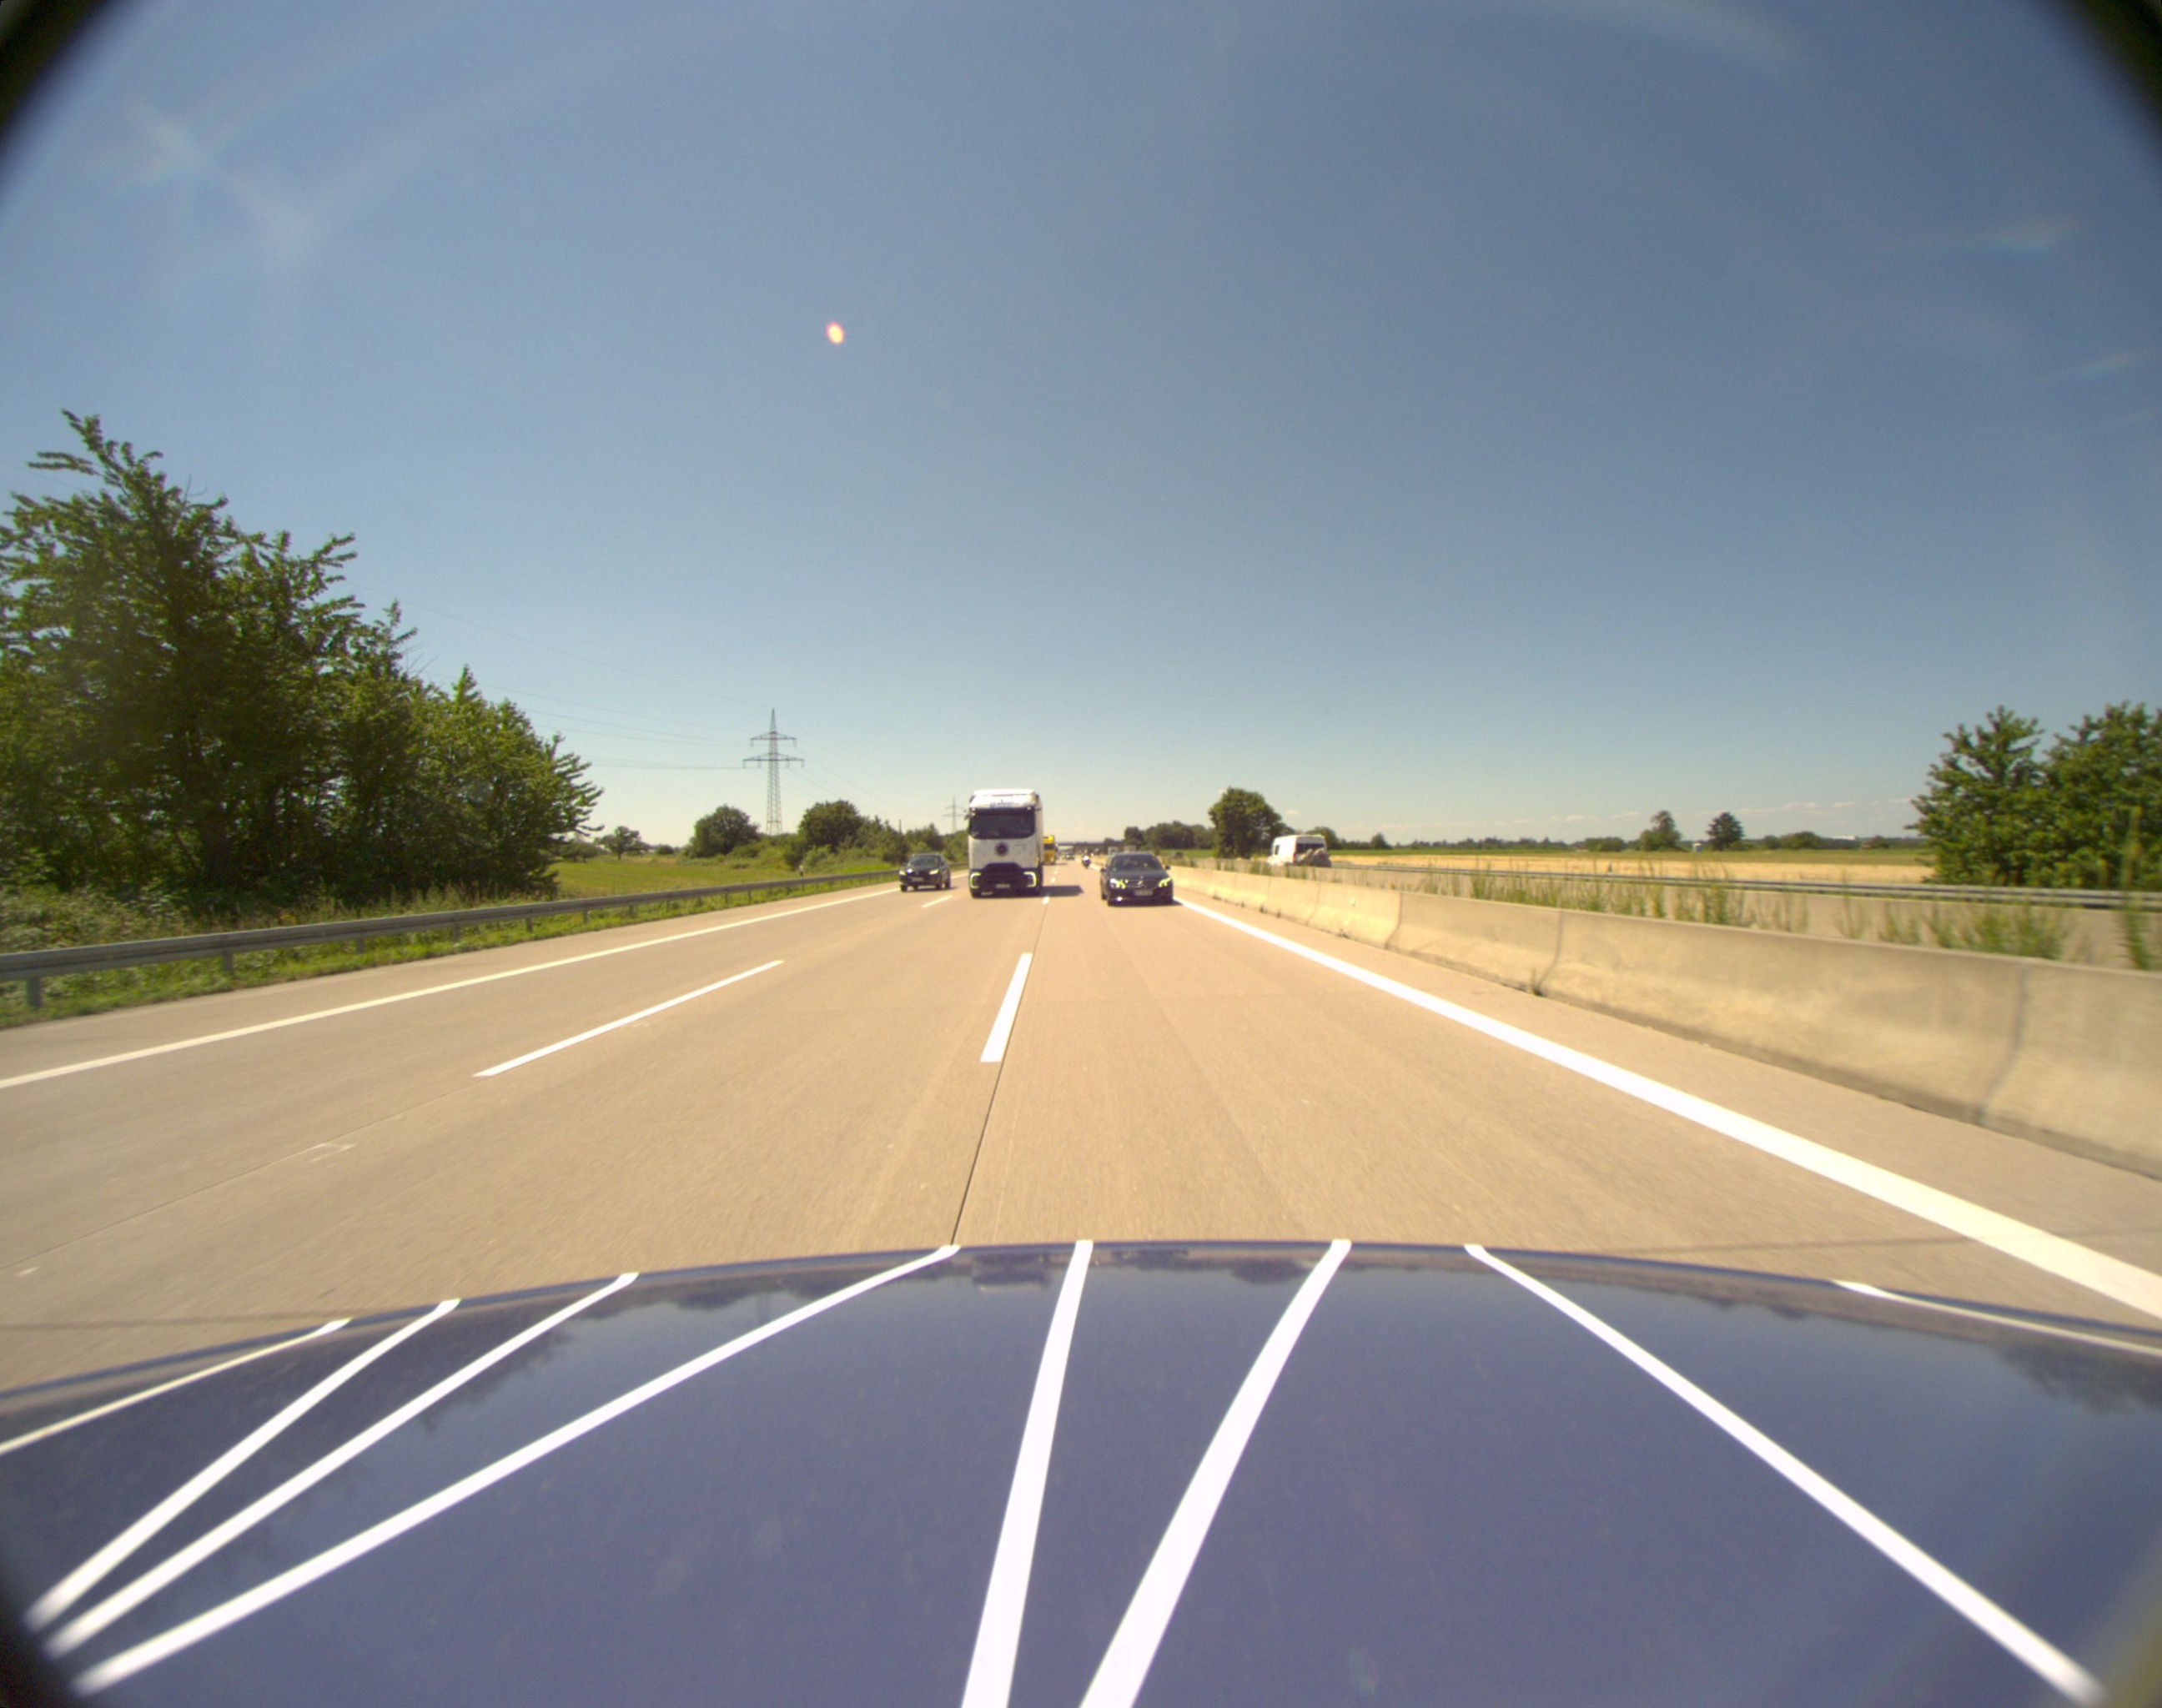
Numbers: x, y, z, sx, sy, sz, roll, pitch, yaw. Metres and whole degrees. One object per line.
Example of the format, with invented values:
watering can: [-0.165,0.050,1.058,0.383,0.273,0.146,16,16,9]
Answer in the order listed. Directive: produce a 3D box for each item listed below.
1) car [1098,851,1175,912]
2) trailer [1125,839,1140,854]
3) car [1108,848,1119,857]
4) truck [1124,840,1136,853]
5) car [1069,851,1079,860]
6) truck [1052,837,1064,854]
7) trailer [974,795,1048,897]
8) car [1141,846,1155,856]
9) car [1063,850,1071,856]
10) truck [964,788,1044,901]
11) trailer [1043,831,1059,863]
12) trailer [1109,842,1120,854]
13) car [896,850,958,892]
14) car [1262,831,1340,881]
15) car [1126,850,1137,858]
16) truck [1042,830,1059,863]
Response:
car: [1.545,0.728,22.411,1.848,1.576,3.939,-2,0,-1]
trailer: [14.235,-2.039,209.654,2.811,3.662,13.746,-2,0,-1]
car: [6.509,-0.255,153.775,1.998,1.707,5.029,-2,0,0]
truck: [14.060,-2.115,219.545,2.811,3.666,7.234,-2,0,-1]
car: [-1.419,0.320,158.246,1.999,1.781,4.300,-2,0,-1]
truck: [-6.118,-2.262,200.182,2.960,4.122,6.151,-2,1,-1]
trailer: [-2.938,-0.345,34.527,2.588,3.855,10.370,-2,0,-2]
car: [12.107,-0.557,137.681,1.998,1.867,5.183,-2,0,0]
car: [-3.944,-0.288,216.022,1.999,1.827,4.814,-2,0,-4]
truck: [-2.803,-0.355,29.093,2.588,3.855,4.982,-2,1,-2]
trailer: [-4.376,-0.996,110.773,1.999,4.230,15.195,-2,0,-2]
trailer: [11.111,-1.935,253.175,2.908,3.947,8.475,-2,0,-2]
car: [-7.162,0.734,35.680,1.998,1.772,4.000,-2,0,1]
car: [13.403,0.072,46.911,2.270,2.772,7.068,-2,0,-4]
car: [10.723,-0.008,162.494,1.998,1.707,4.612,-2,0,0]
truck: [-4.150,-1.025,103.471,1.999,4.230,5.193,-2,1,-2]
